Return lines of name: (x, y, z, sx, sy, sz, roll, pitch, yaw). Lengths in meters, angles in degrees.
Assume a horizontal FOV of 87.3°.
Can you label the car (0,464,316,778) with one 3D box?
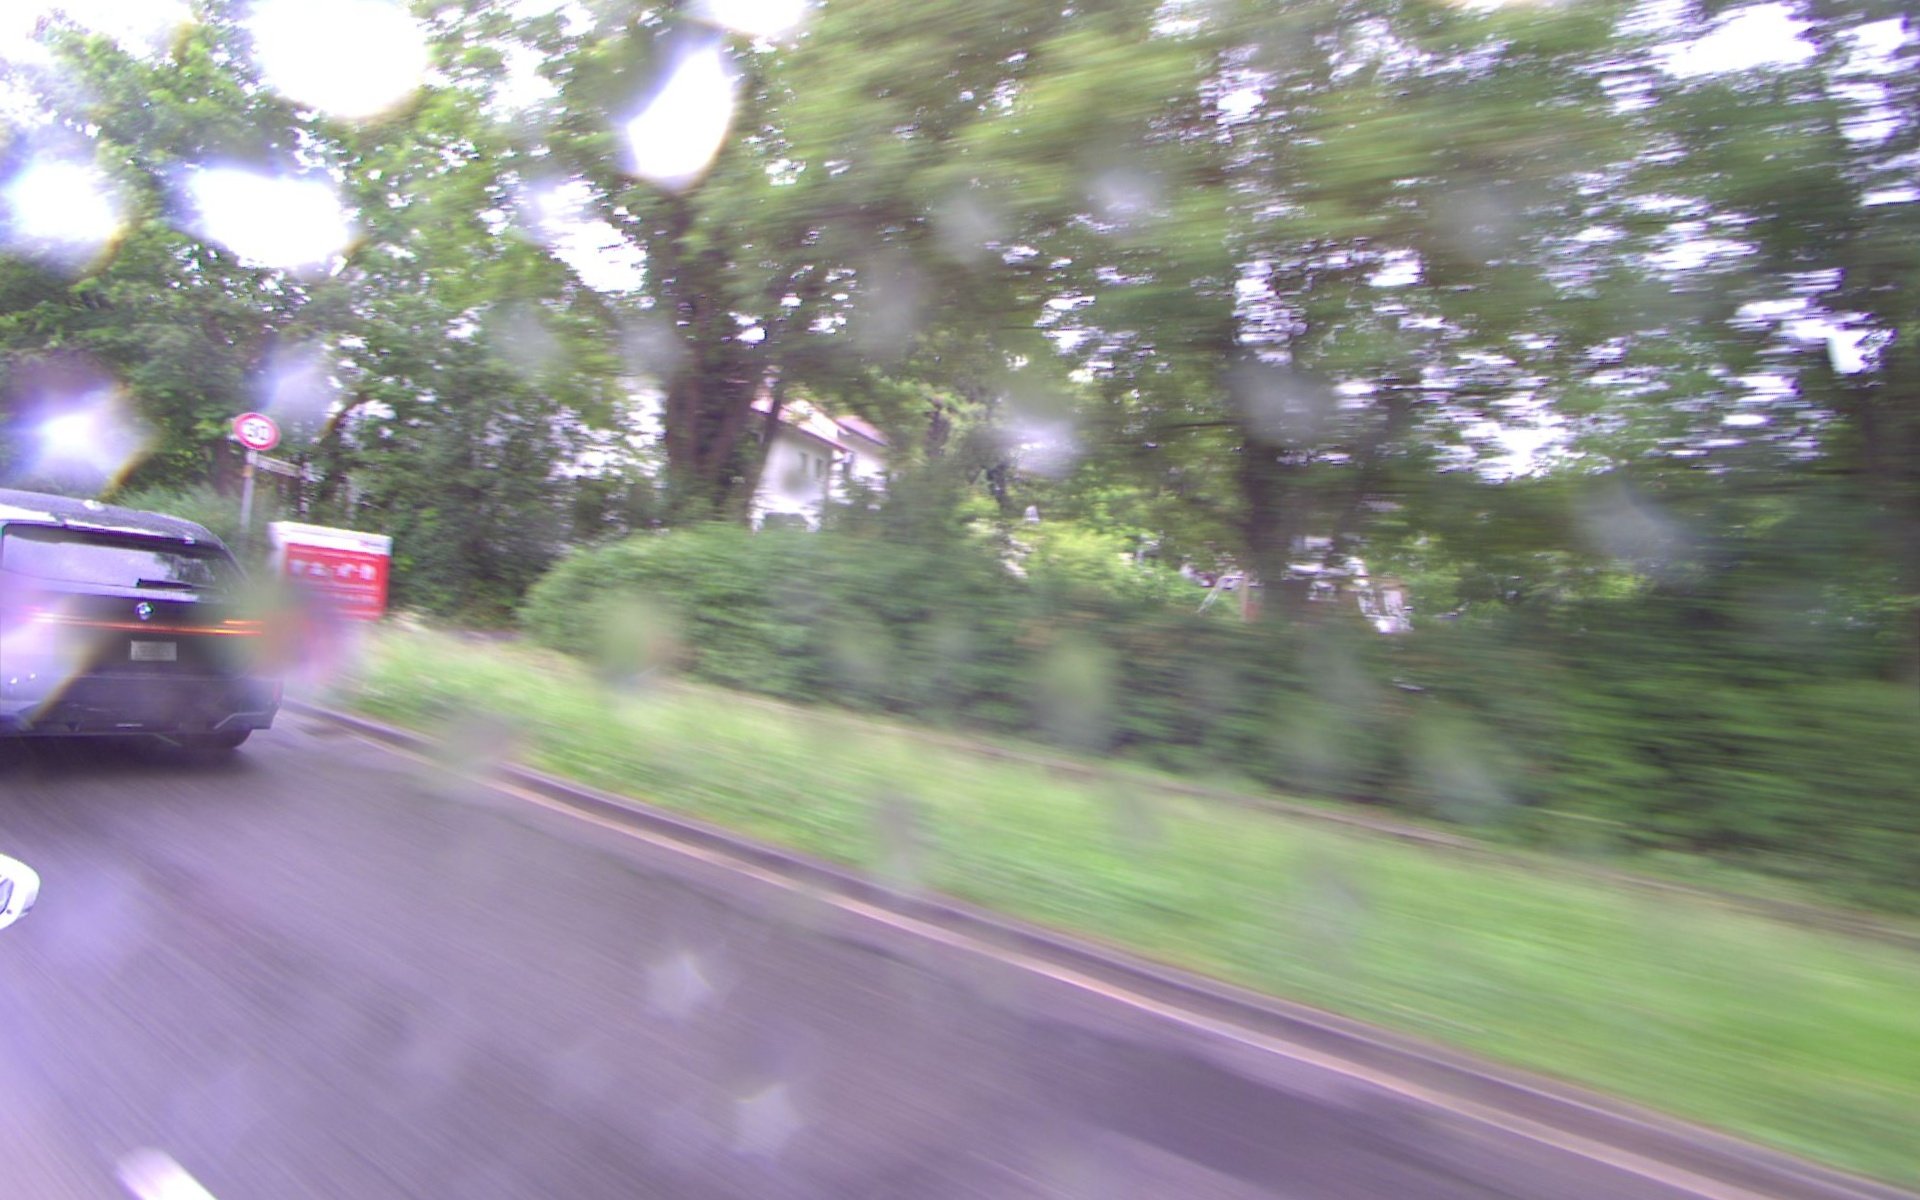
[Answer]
car: (-5.993, -0.027, 6.366, 3.613, 1.555, 1.767, 7, -1, 33)
